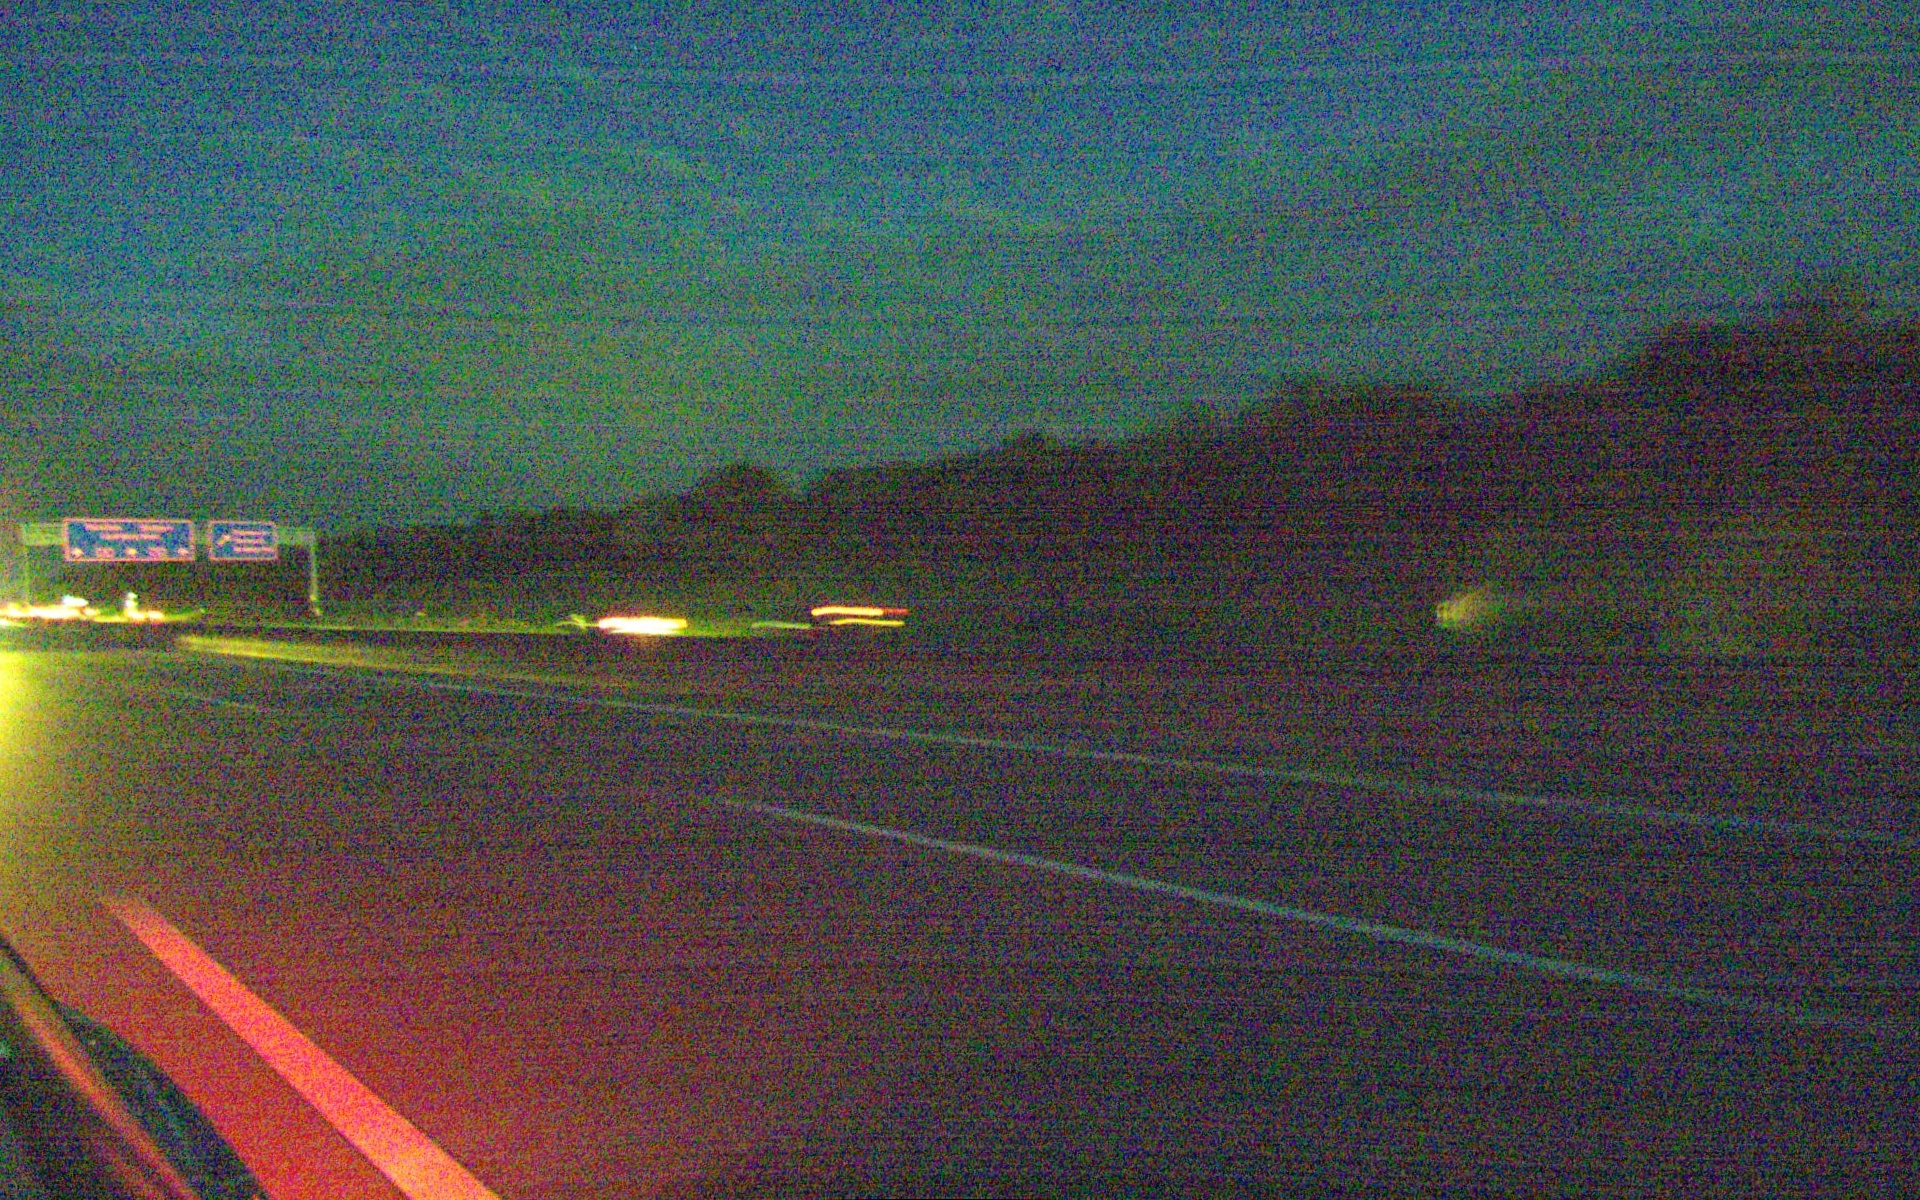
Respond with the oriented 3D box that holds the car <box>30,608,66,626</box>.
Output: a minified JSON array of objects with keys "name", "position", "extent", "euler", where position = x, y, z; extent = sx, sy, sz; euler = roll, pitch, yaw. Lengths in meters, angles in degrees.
[{"name":"car","position":[-100.491,1.874,111.532],"extent":[5.418,1.899,2.124],"euler":[-1,0,39]}]

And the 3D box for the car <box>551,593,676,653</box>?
[{"name":"car","position":[-11.904,0.744,34.635],"extent":[4.658,1.899,2.082],"euler":[-1,0,42]}]

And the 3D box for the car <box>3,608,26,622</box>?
[{"name":"car","position":[-124.088,2.008,132.792],"extent":[4.659,1.747,1.972],"euler":[-1,0,43]}]

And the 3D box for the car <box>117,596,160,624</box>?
[{"name":"car","position":[-89.990,1.114,110.793],"extent":[8.332,2.958,2.431],"euler":[-1,0,42]}]

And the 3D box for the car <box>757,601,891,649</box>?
[{"name":"car","position":[-4.528,0.782,33.222],"extent":[4.658,1.440,1.755],"euler":[-1,0,42]}]

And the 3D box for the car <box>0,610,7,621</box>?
[{"name":"car","position":[-158.102,2.541,166.204],"extent":[4.659,1.747,1.972],"euler":[-1,0,43]}]

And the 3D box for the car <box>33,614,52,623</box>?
[{"name":"car","position":[-159.087,3.237,175.510],"extent":[5.185,1.520,1.972],"euler":[-1,0,43]}]

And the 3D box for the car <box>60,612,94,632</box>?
[{"name":"car","position":[-83.754,2.069,95.969],"extent":[4.658,1.747,1.972],"euler":[-1,0,42]}]
